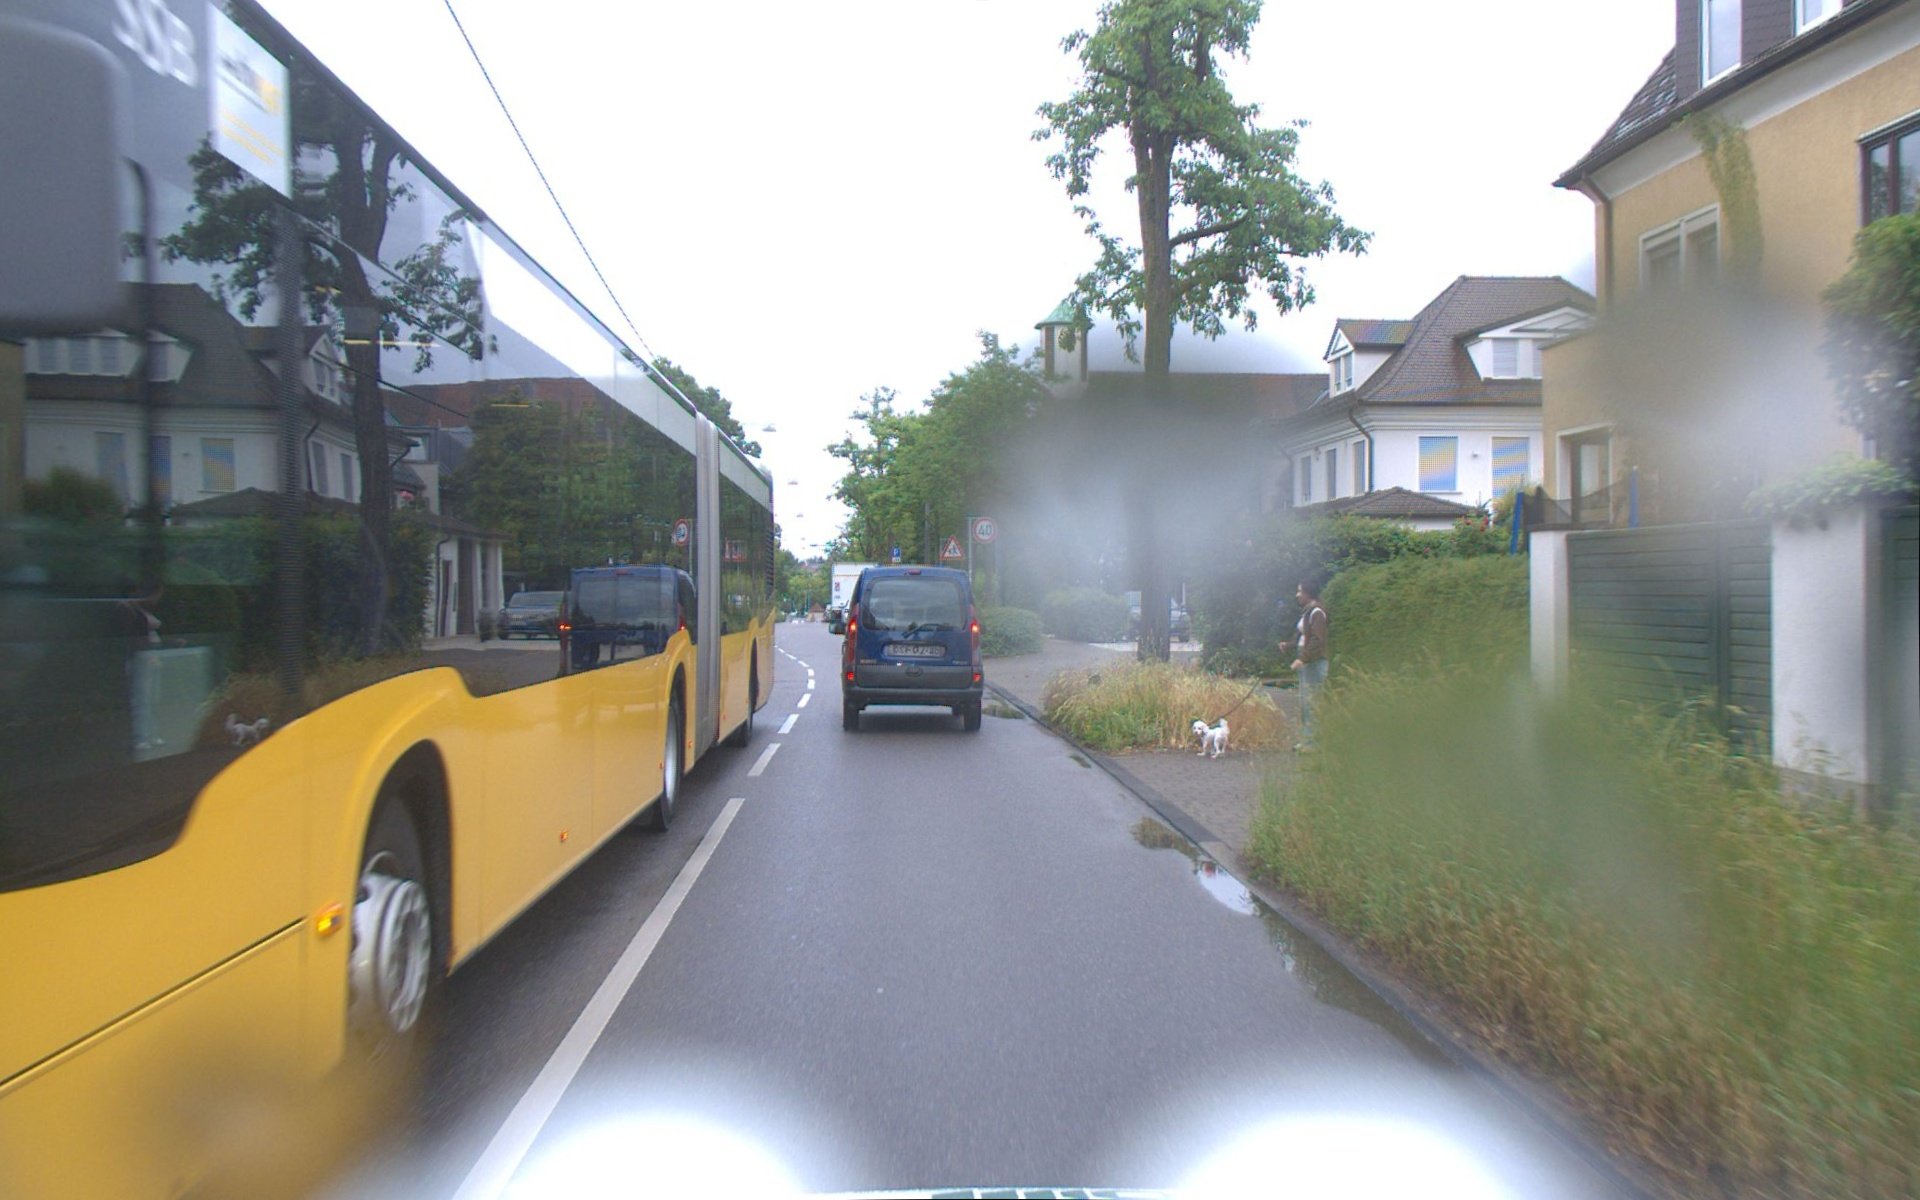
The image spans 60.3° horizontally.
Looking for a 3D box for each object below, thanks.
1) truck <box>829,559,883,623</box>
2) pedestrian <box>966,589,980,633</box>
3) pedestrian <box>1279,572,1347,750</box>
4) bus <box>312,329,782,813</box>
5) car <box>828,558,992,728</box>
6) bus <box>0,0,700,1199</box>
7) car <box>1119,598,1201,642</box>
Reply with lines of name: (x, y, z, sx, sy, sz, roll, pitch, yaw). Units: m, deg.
truck: (-5.874, -0.488, 92.708, 2.679, 3.446, 6.676, -1, 0, -6)
pedestrian: (0.525, 0.440, 66.784, 0.550, 1.738, 0.516, 0, 0, 3)
pedestrian: (3.156, 0.537, 14.799, 0.472, 1.561, 0.439, 1, 0, -6)
bus: (-3.219, -0.184, 15.383, 2.543, 3.213, 8.631, 1, 0, -3)
car: (-0.655, 0.462, 20.023, 1.773, 1.829, 3.997, -1, 0, -3)
bus: (-2.852, -0.121, 6.448, 2.590, 3.098, 9.225, 1, 0, -3)
car: (5.723, 0.540, 47.764, 1.794, 1.197, 3.999, 1, 0, -1)
